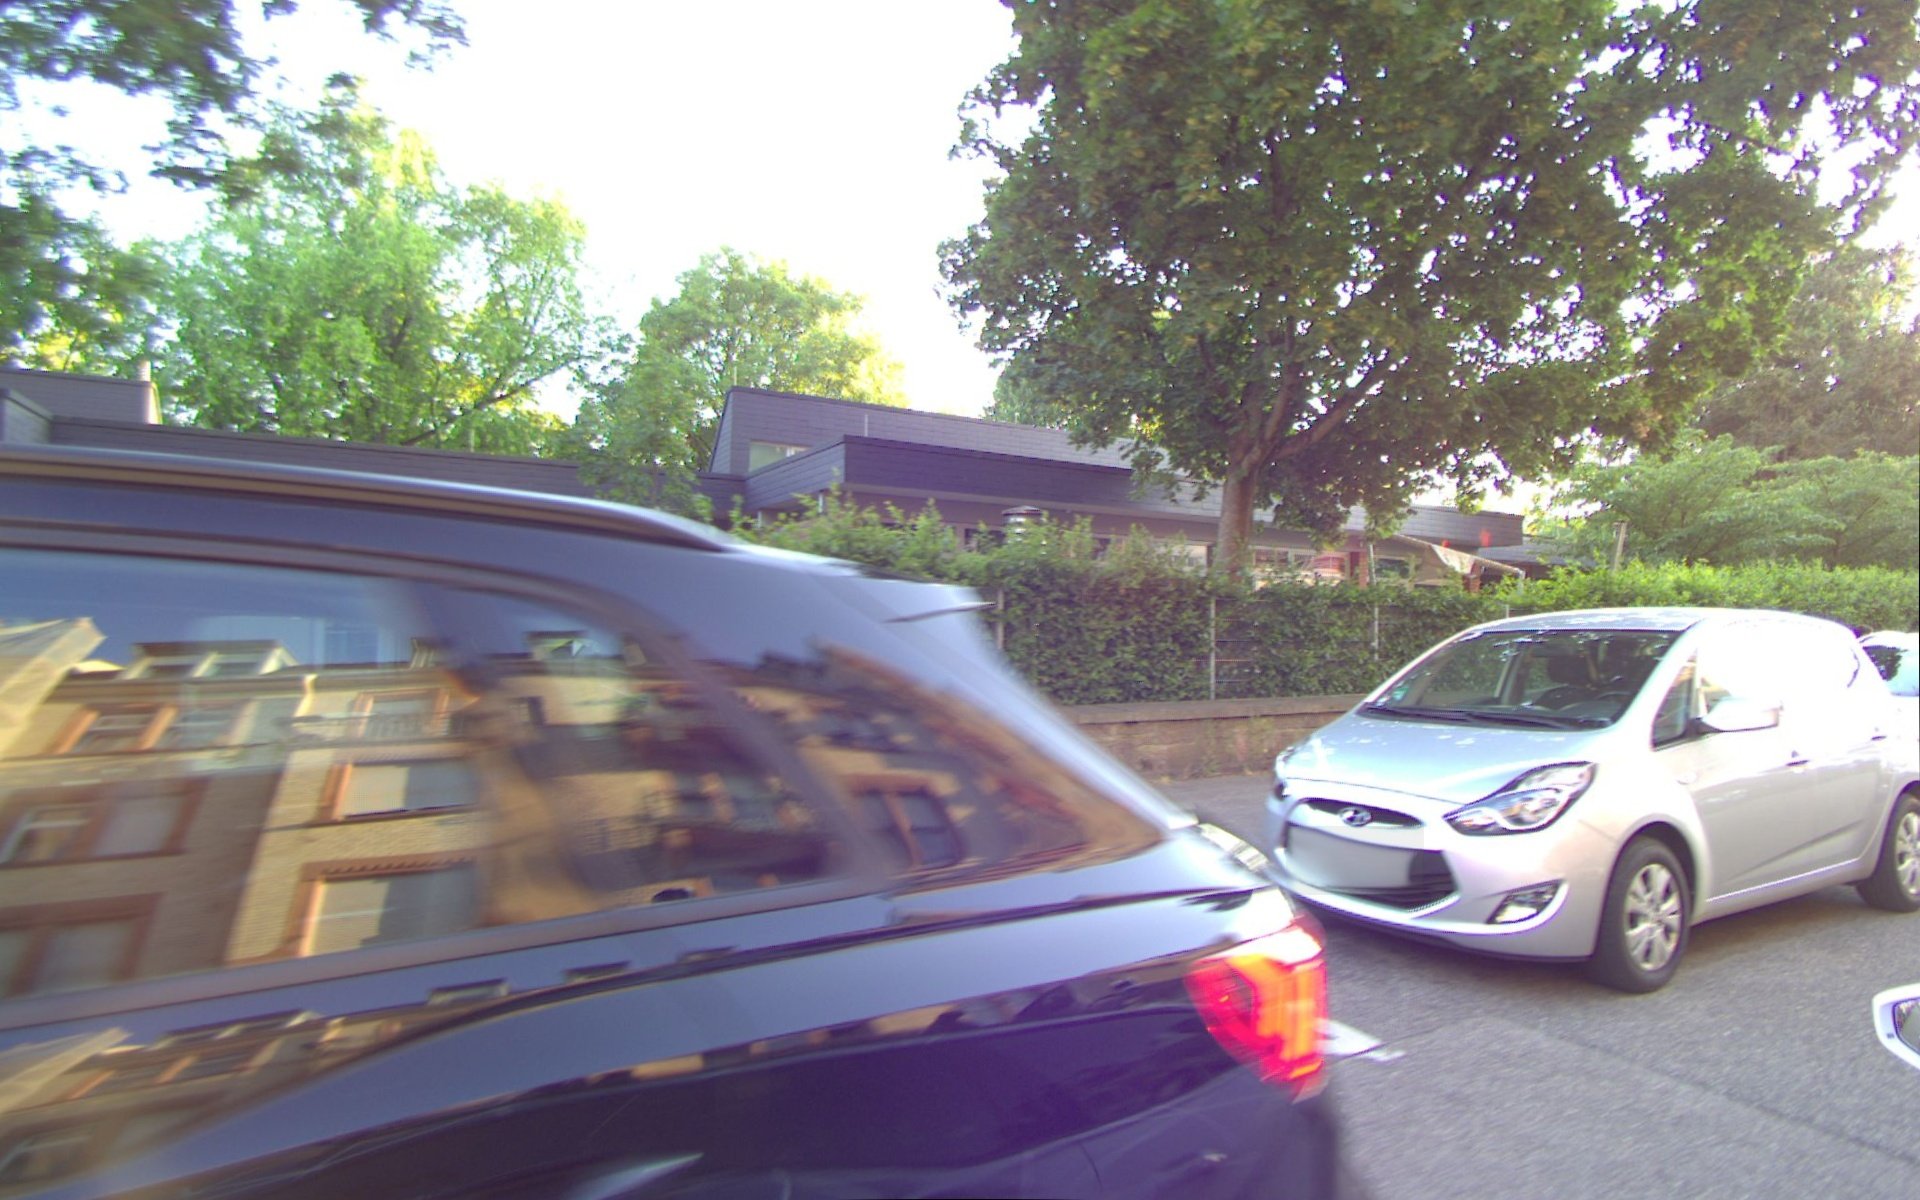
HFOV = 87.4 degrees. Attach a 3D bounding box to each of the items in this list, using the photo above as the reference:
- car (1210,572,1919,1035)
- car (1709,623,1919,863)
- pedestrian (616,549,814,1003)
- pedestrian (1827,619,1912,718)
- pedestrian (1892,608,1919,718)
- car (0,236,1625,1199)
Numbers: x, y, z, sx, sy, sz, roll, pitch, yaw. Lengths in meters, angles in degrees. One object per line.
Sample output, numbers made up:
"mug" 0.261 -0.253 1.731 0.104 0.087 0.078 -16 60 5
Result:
"car" 3.393 0.792 5.344 3.933 1.653 1.726 1 -2 -30
"car" 7.878 0.988 7.978 4.235 1.563 1.749 2 -2 -33
"pedestrian" -1.057 0.661 4.258 0.552 1.725 0.741 1 2 -33
"pedestrian" 14.883 1.096 16.446 0.892 1.528 0.744 1 2 -32
"pedestrian" 15.841 1.031 16.208 0.735 1.756 0.902 3 2 14
"car" -1.422 0.627 1.146 4.067 1.653 1.730 1 -2 -24
